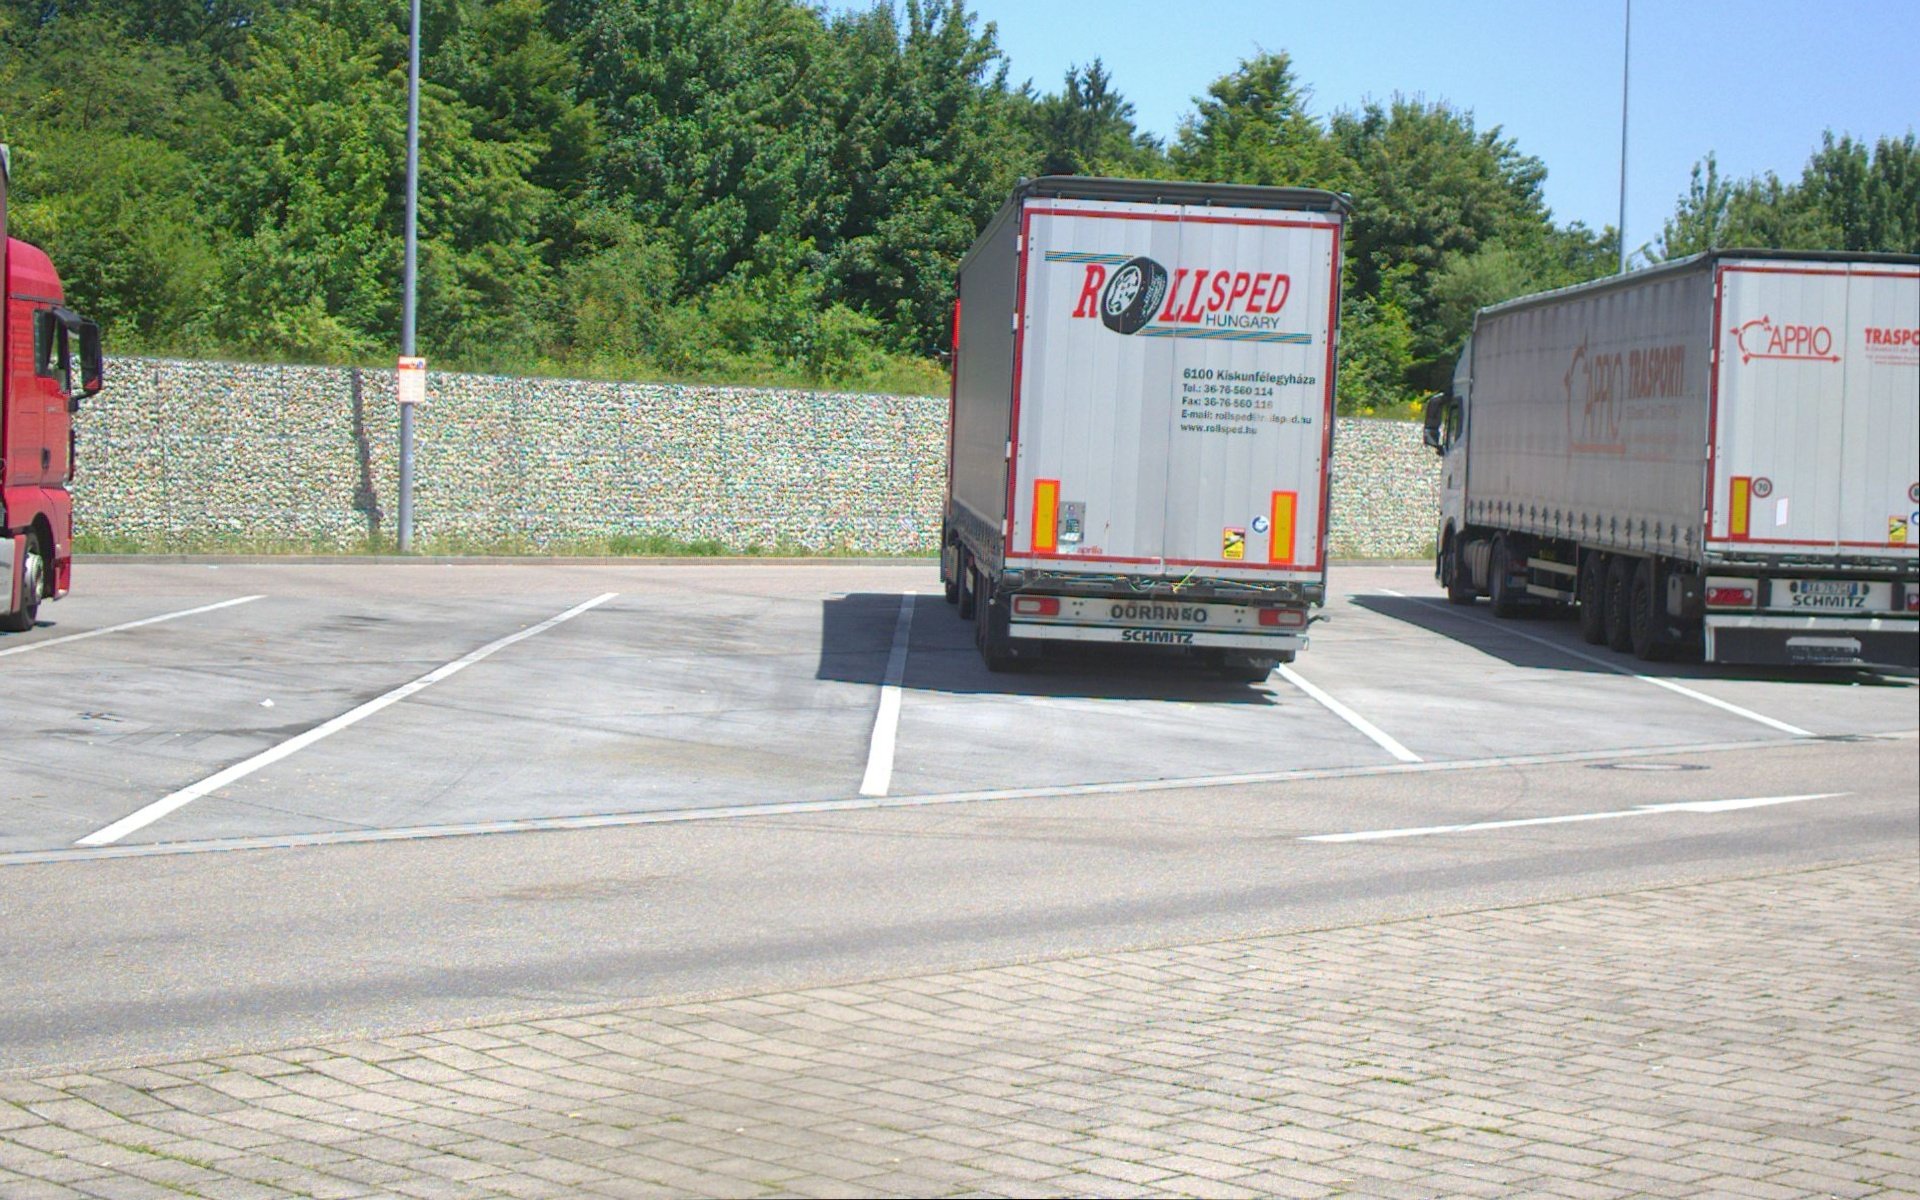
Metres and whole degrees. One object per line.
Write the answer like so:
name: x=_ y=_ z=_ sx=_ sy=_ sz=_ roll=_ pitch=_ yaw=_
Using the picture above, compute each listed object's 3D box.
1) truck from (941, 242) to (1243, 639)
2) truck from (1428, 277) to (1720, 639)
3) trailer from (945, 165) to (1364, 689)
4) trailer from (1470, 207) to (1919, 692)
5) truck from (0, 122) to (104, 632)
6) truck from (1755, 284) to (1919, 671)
truck: x=1.317 y=-1.698 z=37.658 sx=2.871 sy=3.967 sz=6.030 roll=1 pitch=2 yaw=-2
truck: x=7.976 y=-1.838 z=45.371 sx=2.661 sy=4.437 sz=5.864 roll=1 pitch=2 yaw=-1
trailer: x=1.470 y=-1.510 z=32.112 sx=2.897 sy=4.000 sz=11.319 roll=1 pitch=2 yaw=-2
trailer: x=8.114 y=-1.584 z=38.104 sx=2.681 sy=4.437 sz=12.831 roll=1 pitch=2 yaw=-1
truck: x=-9.175 y=-1.829 z=28.375 sx=2.805 sy=4.119 sz=5.894 roll=1 pitch=2 yaw=-1
truck: x=11.729 y=-1.332 z=38.712 sx=2.587 sy=4.211 sz=11.971 roll=1 pitch=1 yaw=-1
